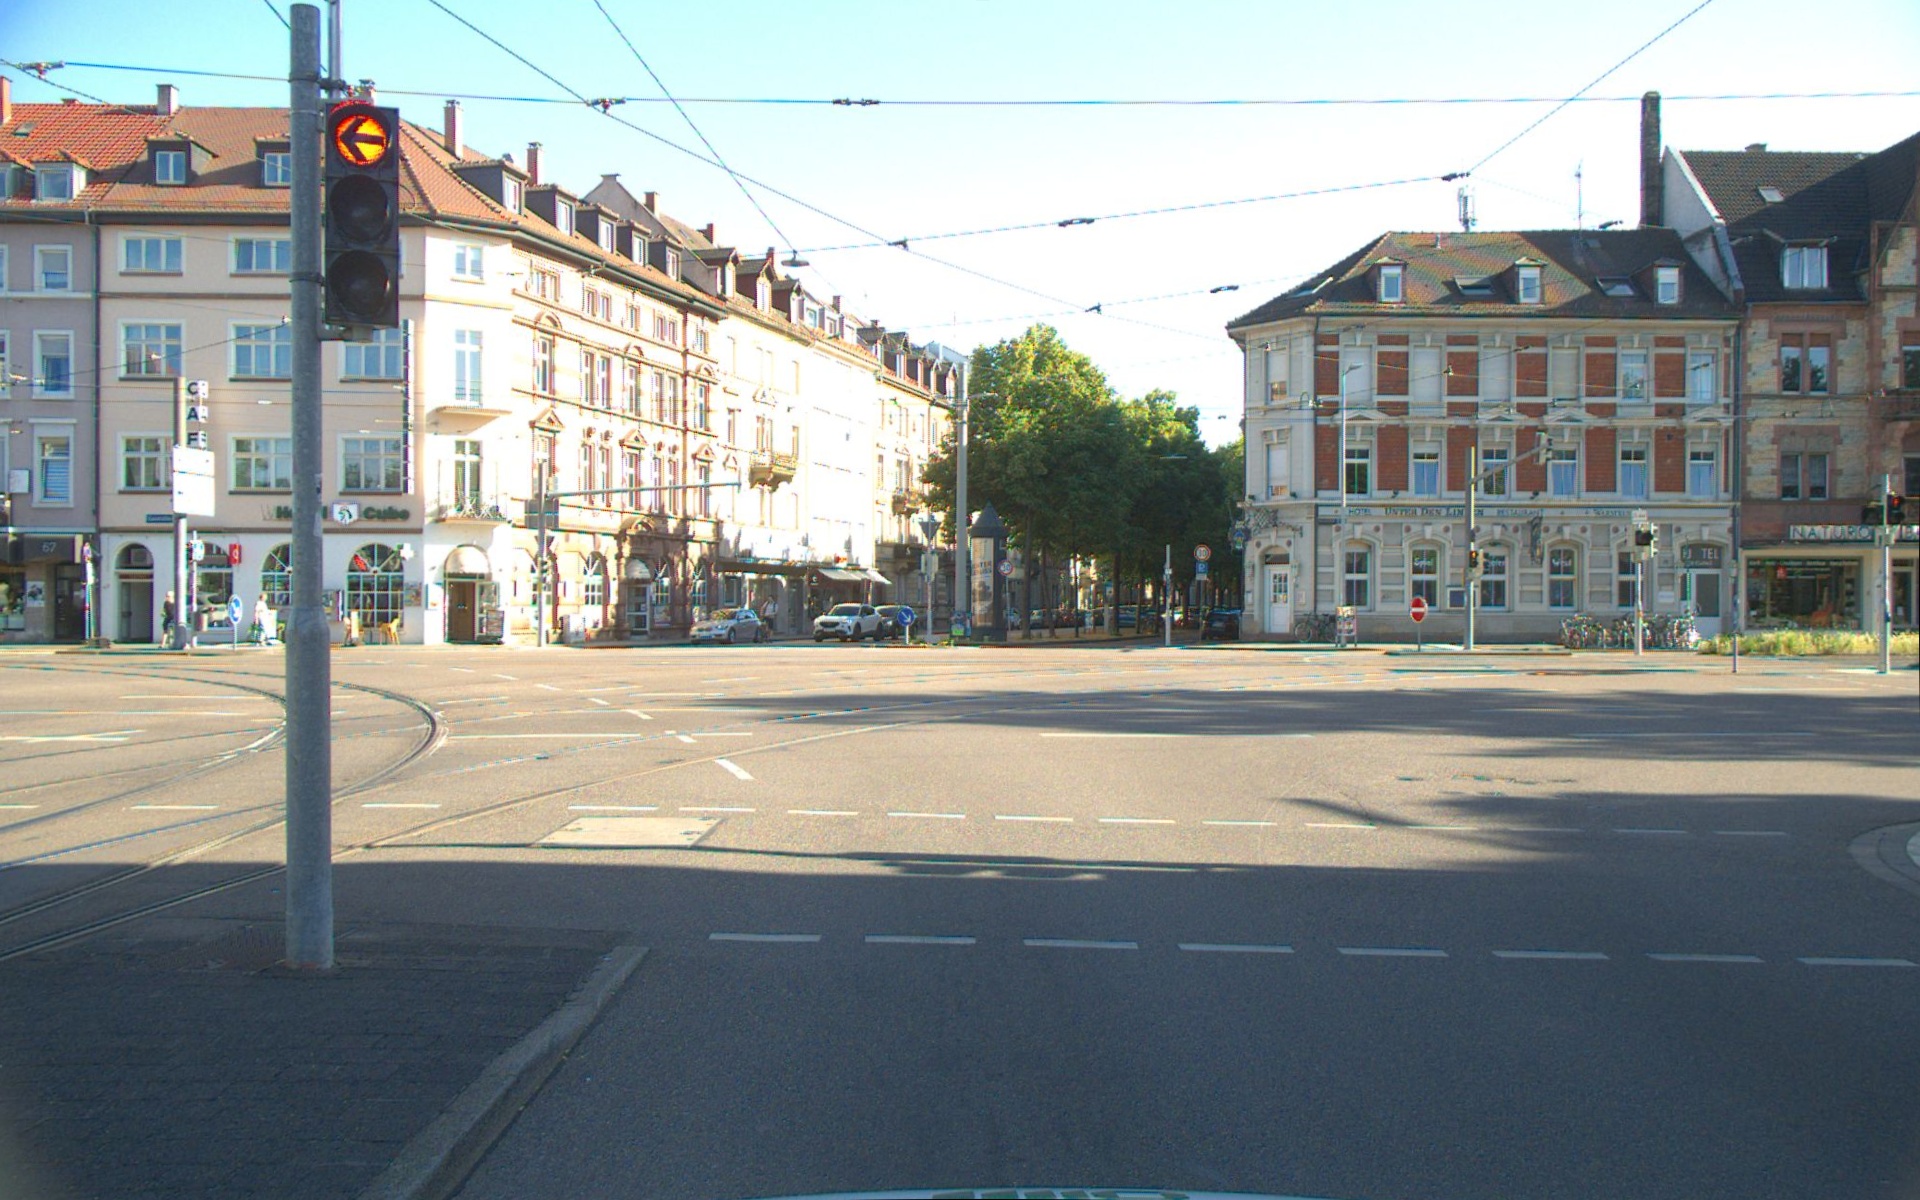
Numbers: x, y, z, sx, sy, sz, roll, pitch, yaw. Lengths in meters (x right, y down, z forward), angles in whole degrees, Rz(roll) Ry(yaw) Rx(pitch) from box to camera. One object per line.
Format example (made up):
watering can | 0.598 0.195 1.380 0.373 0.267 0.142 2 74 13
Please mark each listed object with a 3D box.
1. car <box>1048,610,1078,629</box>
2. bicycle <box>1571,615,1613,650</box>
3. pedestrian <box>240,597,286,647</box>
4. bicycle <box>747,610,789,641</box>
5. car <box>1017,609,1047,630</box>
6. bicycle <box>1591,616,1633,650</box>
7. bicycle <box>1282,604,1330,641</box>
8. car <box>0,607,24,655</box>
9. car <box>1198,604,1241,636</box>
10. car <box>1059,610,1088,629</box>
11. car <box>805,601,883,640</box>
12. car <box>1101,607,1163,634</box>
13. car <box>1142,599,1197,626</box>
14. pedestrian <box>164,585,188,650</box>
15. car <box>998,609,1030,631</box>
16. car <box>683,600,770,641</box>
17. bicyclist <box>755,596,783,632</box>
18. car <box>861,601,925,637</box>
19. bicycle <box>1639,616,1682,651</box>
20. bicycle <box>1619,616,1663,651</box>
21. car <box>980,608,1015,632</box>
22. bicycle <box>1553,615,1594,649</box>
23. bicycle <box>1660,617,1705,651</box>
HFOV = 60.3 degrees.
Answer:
car | 8.241 1.545 131.701 1.704 1.422 4.127 3 0 13
bicycle | 20.467 1.043 53.563 0.593 1.069 1.641 0 0 -6
pedestrian | -22.645 0.703 53.773 1.043 1.618 1.042 0 0 1
bicycle | -7.573 0.998 65.489 0.734 1.155 2.812 0 0 14
car | 5.332 1.420 122.834 1.704 1.422 4.127 3 0 9
bicycle | 21.118 1.054 53.589 0.593 1.069 1.641 0 0 -6
bicycle | 11.976 0.769 57.297 1.603 1.243 0.607 0 0 16
car | -32.062 0.998 52.148 3.910 1.489 1.998 -1 1 -6
car | 12.974 1.009 82.460 1.616 1.551 3.755 0 -1 17
car | 9.418 1.581 136.497 1.704 1.422 4.127 3 0 13
car | -4.651 0.794 67.074 2.052 1.525 4.003 0 0 13
car | 12.003 1.409 115.379 4.024 1.675 1.748 3 0 15
car | 16.955 1.021 133.659 4.026 1.952 1.746 3 0 21
pedestrian | -24.665 0.540 52.028 0.498 2.049 0.505 0 0 2
car | 3.802 1.363 115.834 1.704 1.422 4.127 3 0 9
car | -9.450 0.815 67.214 2.052 1.572 4.367 0 0 13
bicyclist | -7.559 0.547 65.458 0.776 1.399 1.109 0 0 14
car | -2.959 0.801 73.467 1.951 1.540 4.004 0 0 11
bicycle | 22.605 1.079 53.397 0.593 1.069 1.641 0 0 -6
bicycle | 21.944 1.067 53.321 0.593 1.069 1.641 0 0 -6
car | 2.525 1.316 110.011 1.704 1.422 4.127 3 0 9
bicycle | 19.826 1.031 53.507 0.593 1.069 1.641 0 0 -6
bicycle | 23.331 1.092 53.418 0.593 1.069 1.641 0 0 -6
